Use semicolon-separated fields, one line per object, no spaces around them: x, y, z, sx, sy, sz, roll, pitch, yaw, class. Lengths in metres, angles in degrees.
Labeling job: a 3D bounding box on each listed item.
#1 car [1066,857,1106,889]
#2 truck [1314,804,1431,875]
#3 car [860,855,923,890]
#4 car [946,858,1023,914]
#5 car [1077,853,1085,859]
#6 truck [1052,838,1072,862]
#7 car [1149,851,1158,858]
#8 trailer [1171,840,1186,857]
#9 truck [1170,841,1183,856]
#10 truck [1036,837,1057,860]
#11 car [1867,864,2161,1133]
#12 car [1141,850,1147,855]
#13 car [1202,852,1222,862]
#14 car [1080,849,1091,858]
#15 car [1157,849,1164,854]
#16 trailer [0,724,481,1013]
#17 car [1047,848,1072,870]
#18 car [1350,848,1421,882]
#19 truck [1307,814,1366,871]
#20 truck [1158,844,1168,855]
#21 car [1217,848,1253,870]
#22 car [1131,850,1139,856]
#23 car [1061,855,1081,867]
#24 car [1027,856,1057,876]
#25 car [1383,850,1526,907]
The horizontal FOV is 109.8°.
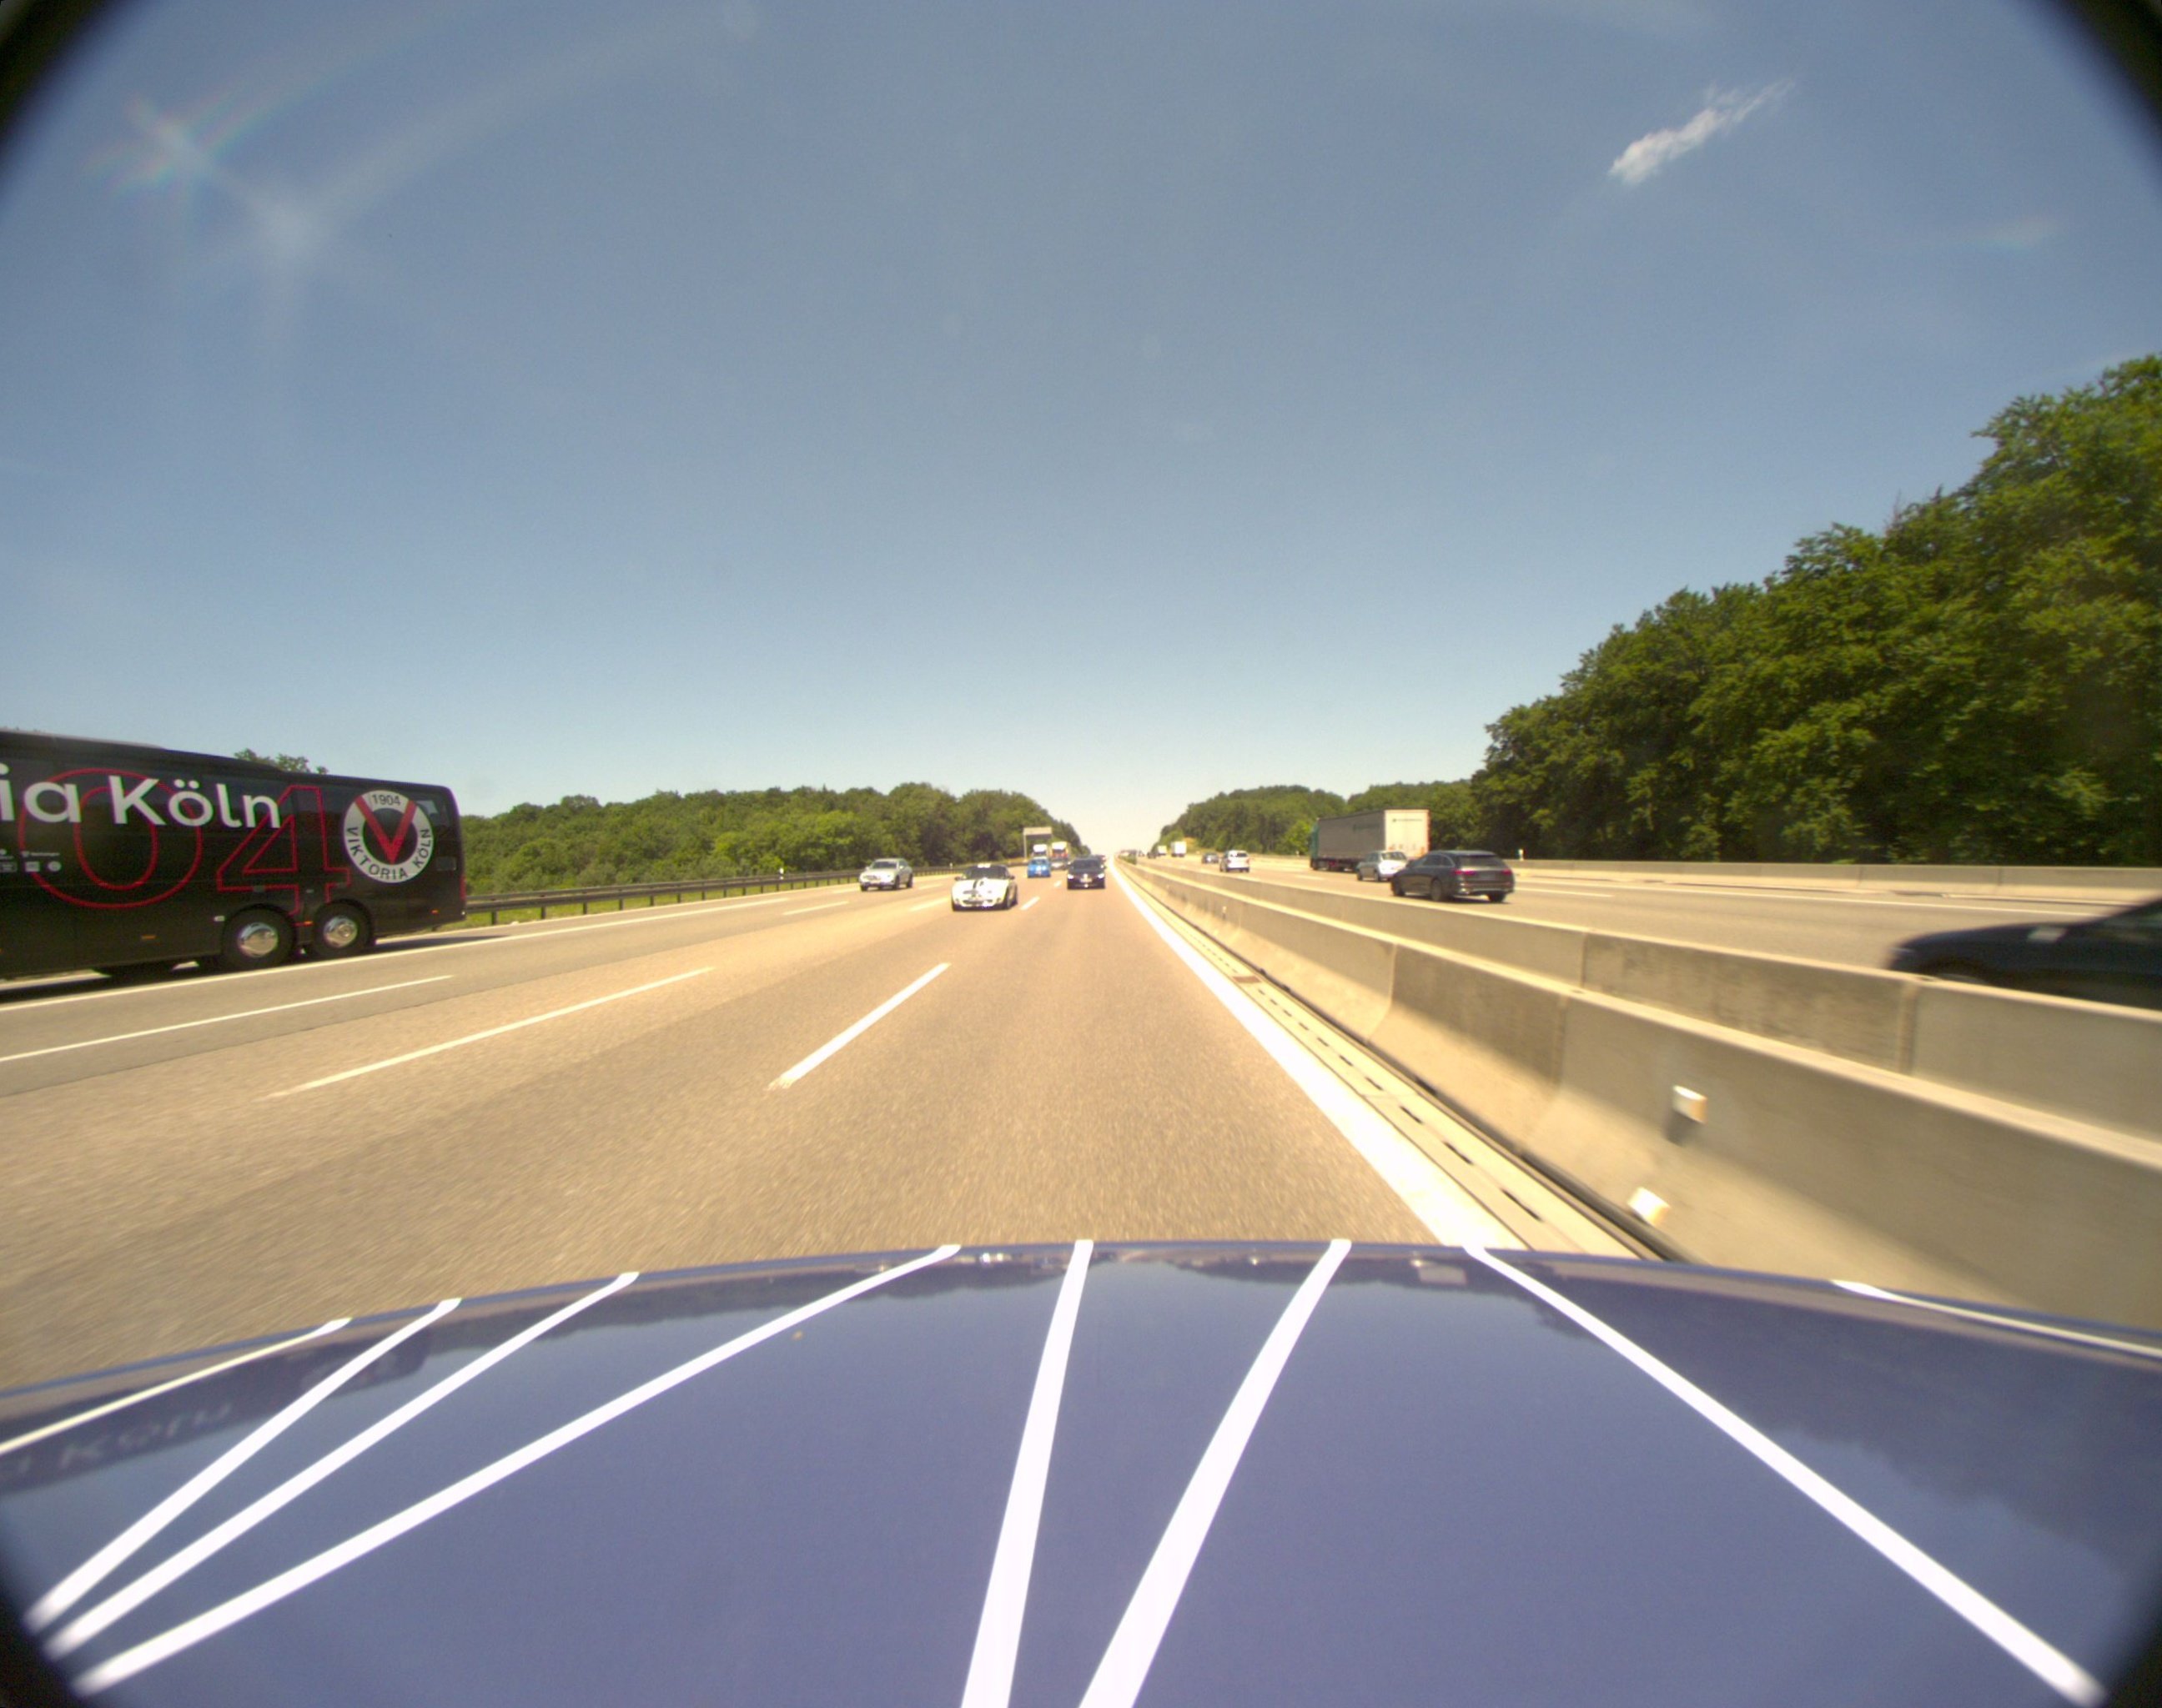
0.307;0.870;36.763;1.777;1.425;4.144;0;0;3;car
18.974;-0.853;50.872;2.696;4.002;14.298;-1;0;2;truck
-10.029;0.965;40.618;1.805;1.720;5.241;-1;-1;2;car
-2.969;0.957;24.127;1.846;1.543;4.000;-2;0;0;car
-0.086;0.451;213.594;1.910;1.503;4.161;-4;-1;4;car
-3.418;-0.664;139.301;3.018;3.957;7.542;-3;-1;3;truck
16.394;0.119;171.482;1.771;1.469;4.482;-1;0;2;car
25.094;-1.436;196.368;2.648;4.200;14.363;-1;0;2;trailer
25.310;-1.422;202.600;2.721;4.076;7.877;-1;0;2;truck
-6.803;-1.058;151.497;2.728;4.135;10.973;-4;-1;3;truck
6.862;0.832;3.627;1.605;1.460;4.505;-1;0;1;car
20.722;-0.456;250.549;1.802;1.472;4.722;4;-1;2;car
16.897;0.350;98.061;1.836;1.293;4.729;-1;0;1;car
0.856;-0.079;150.968;1.910;1.503;4.161;-4;-1;4;car
23.018;-0.721;220.209;1.802;1.633;5.080;-1;0;2;car
-15.122;0.221;10.110;2.864;3.666;13.543;-2;1;3;trailer
-2.231;0.505;80.256;1.966;2.041;4.785;-5;0;5;car
14.760;0.493;37.090;1.877;1.526;4.136;-1;0;1;car
19.222;-0.825;57.489;2.664;4.002;5.511;-1;0;1;truck
28.769;-1.535;266.474;2.545;3.550;8.577;-1;0;2;truck
11.757;0.351;58.176;1.836;1.552;4.776;-1;0;1;car
14.609;-0.228;205.493;1.836;1.559;4.786;-1;0;2;car
-1.239;0.920;97.166;1.971;1.444;5.226;-3;-1;4;car
-2.902;0.866;57.269;1.741;1.403;4.001;-3;0;3;car
10.999;0.638;22.852;1.877;1.467;5.111;-1;0;1;car
